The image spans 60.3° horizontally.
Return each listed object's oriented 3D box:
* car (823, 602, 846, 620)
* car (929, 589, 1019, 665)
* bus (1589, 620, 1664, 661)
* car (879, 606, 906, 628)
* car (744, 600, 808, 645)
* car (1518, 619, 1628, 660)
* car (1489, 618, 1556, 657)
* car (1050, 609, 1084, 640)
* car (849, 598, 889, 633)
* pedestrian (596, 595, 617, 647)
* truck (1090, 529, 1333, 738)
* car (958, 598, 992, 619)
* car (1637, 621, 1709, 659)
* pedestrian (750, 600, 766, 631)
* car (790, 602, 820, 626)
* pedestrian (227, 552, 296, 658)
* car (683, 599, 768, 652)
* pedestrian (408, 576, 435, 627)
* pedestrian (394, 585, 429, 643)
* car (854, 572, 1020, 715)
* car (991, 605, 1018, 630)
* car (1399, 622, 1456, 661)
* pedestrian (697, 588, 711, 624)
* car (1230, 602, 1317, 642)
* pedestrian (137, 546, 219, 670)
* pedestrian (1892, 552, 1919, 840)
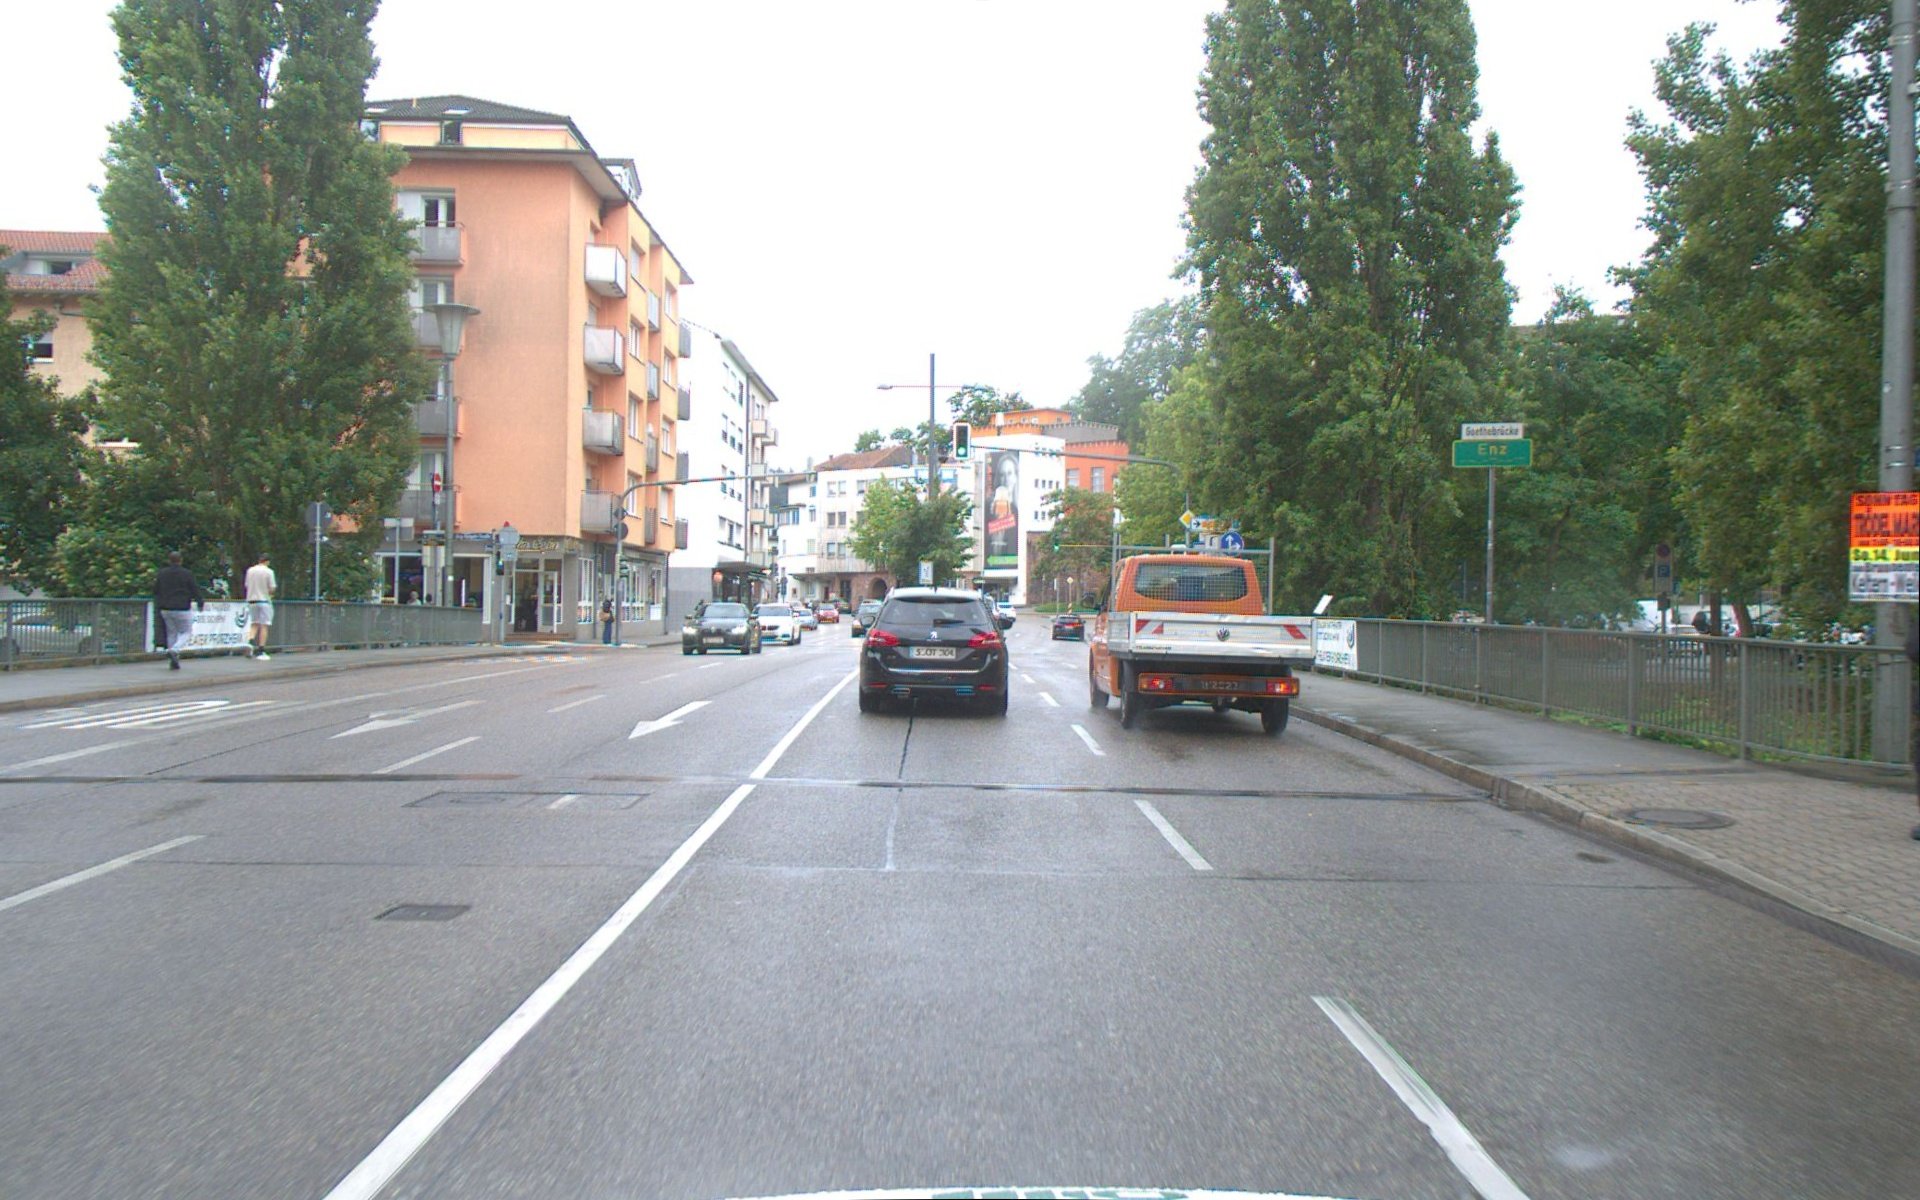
[{"bbox_3d":[-9.920,0.872,131.033,1.631,1.424,3.875,0,0,-1],"label":"car"},{"bbox_3d":[0.357,0.567,35.373,1.757,1.509,4.001,1,0,2],"label":"car"},{"bbox_3d":[30.784,1.848,76.537,1.952,1.754,4.001,2,-1,2],"label":"bus"},{"bbox_3d":[-4.492,1.127,110.406,1.620,1.475,3.543,0,0,0],"label":"car"},{"bbox_3d":[-6.714,0.790,60.739,1.798,1.536,4.820,1,0,0],"label":"car"},{"bbox_3d":[26.175,1.684,70.681,4.040,1.649,1.804,1,0,-5],"label":"car"},{"bbox_3d":[26.154,1.718,76.960,1.564,1.680,3.595,2,-1,-6],"label":"car"},{"bbox_3d":[6.105,1.425,95.057,1.611,1.591,3.599,4,-3,0],"label":"car"},{"bbox_3d":[-4.321,0.722,78.870,1.701,1.629,3.919,0,0,0],"label":"car"},{"bbox_3d":[-12.114,0.714,56.682,0.519,1.757,0.649,1,0,3],"label":"pedestrian"},{"bbox_3d":[2.757,0.328,19.289,2.078,2.060,4.716,2,0,0],"label":"truck"},{"bbox_3d":[1.274,0.754,142.077,1.621,1.591,3.578,5,-3,-20],"label":"car"},{"bbox_3d":[33.380,1.843,77.551,1.781,1.680,4.001,2,-1,3],"label":"car"},{"bbox_3d":[-13.742,1.037,112.456,0.719,2.049,0.650,6,-3,-34],"label":"pedestrian"},{"bbox_3d":[-10.368,0.943,110.857,1.741,1.552,3.660,1,0,-1],"label":"car"},{"bbox_3d":[-12.344,0.092,29.256,0.780,1.825,0.812,2,-1,2],"label":"pedestrian"},{"bbox_3d":[-6.419,0.679,45.719,1.755,1.348,4.405,1,0,-1],"label":"car"},{"bbox_3d":[-15.636,0.047,48.058,0.640,1.471,0.797,0,-2,-12],"label":"pedestrian"},{"bbox_3d":[-16.200,0.424,48.870,0.783,1.692,0.619,-2,-3,34],"label":"pedestrian"},{"bbox_3d":[-0.187,0.526,20.422,1.757,1.509,4.001,3,-1,2],"label":"car"},{"bbox_3d":[3.532,1.378,131.960,1.953,1.853,3.999,2,0,-1],"label":"car"},{"bbox_3d":[26.201,2.351,92.789,1.865,2.049,3.723,4,-3,-3],"label":"car"},{"bbox_3d":[-13.591,0.321,87.826,0.626,1.893,0.523,2,0,-2],"label":"pedestrian"},{"bbox_3d":[15.440,1.072,81.505,3.904,1.678,1.918,4,0,3],"label":"car"},{"bbox_3d":[-11.878,0.127,25.149,0.683,1.825,0.959,2,-1,2],"label":"pedestrian"},{"bbox_3d":[5.955,0.565,9.722,0.627,1.693,0.563,0,1,-2],"label":"pedestrian"}]
